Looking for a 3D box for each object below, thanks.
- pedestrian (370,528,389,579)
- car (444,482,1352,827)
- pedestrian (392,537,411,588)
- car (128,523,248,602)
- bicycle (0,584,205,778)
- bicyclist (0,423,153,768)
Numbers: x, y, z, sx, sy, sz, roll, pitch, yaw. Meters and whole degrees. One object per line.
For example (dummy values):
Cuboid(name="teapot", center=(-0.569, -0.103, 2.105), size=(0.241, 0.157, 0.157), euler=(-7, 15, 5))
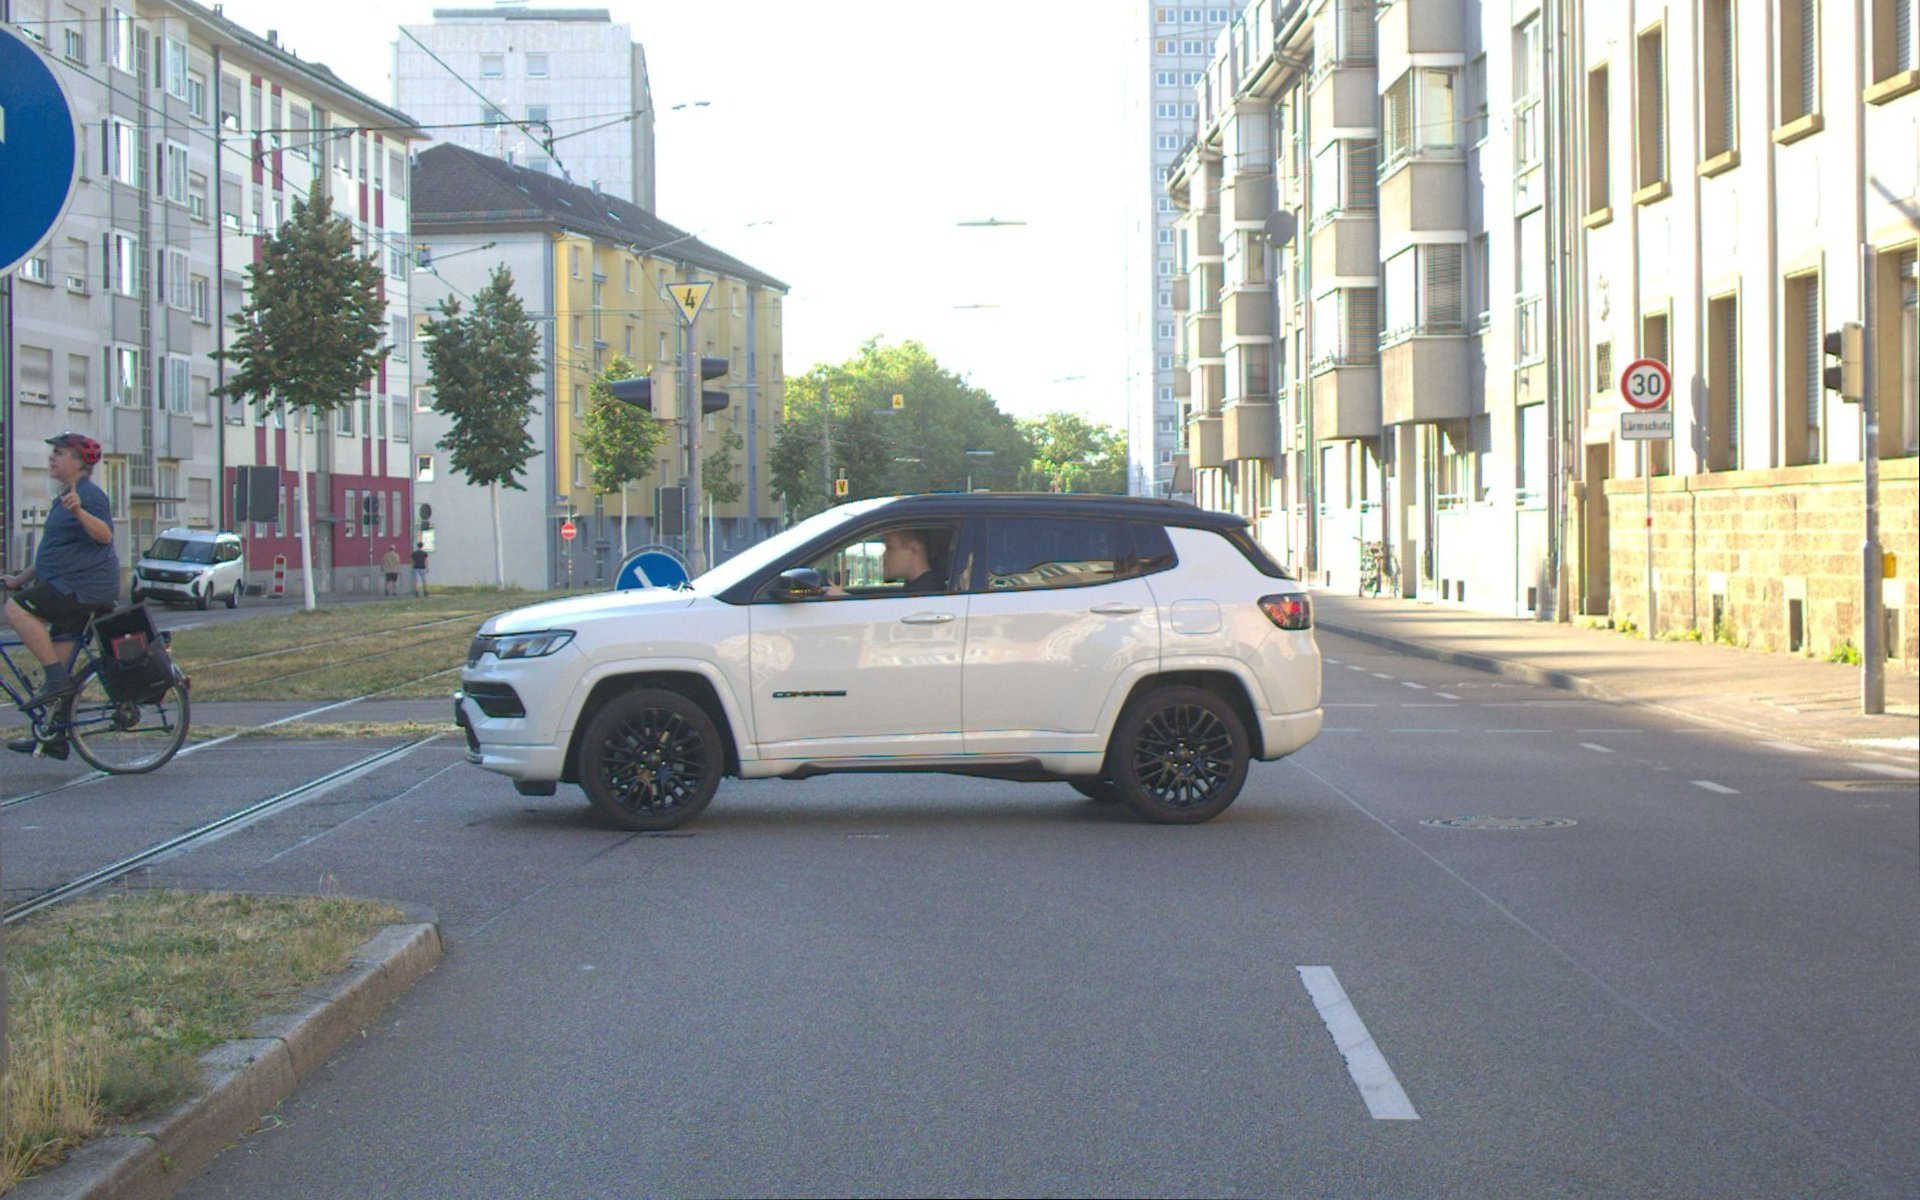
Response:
Cuboid(name="pedestrian", center=(-18.801, -1.516, 111.329), size=(0.495, 1.652, 0.408), euler=(-1, 1, 0))
Cuboid(name="car", center=(-0.399, 0.235, 17.672), size=(4.417, 1.635, 2.001), euler=(0, 1, -9))
Cuboid(name="pedestrian", center=(-18.093, -1.213, 111.379), size=(0.495, 1.652, 0.408), euler=(-1, 1, 0))
Cuboid(name="car", center=(-18.233, -0.881, 81.377), size=(1.812, 1.791, 4.245), euler=(1, 0, 1))
Cuboid(name="bicycle", center=(-5.470, 0.476, 20.179), size=(1.943, 1.090, 0.575), euler=(-1, 1, -3))
Cuboid(name="bicyclist", center=(-5.314, -0.032, 20.221), size=(0.959, 1.981, 0.672), euler=(-1, 1, -3))
